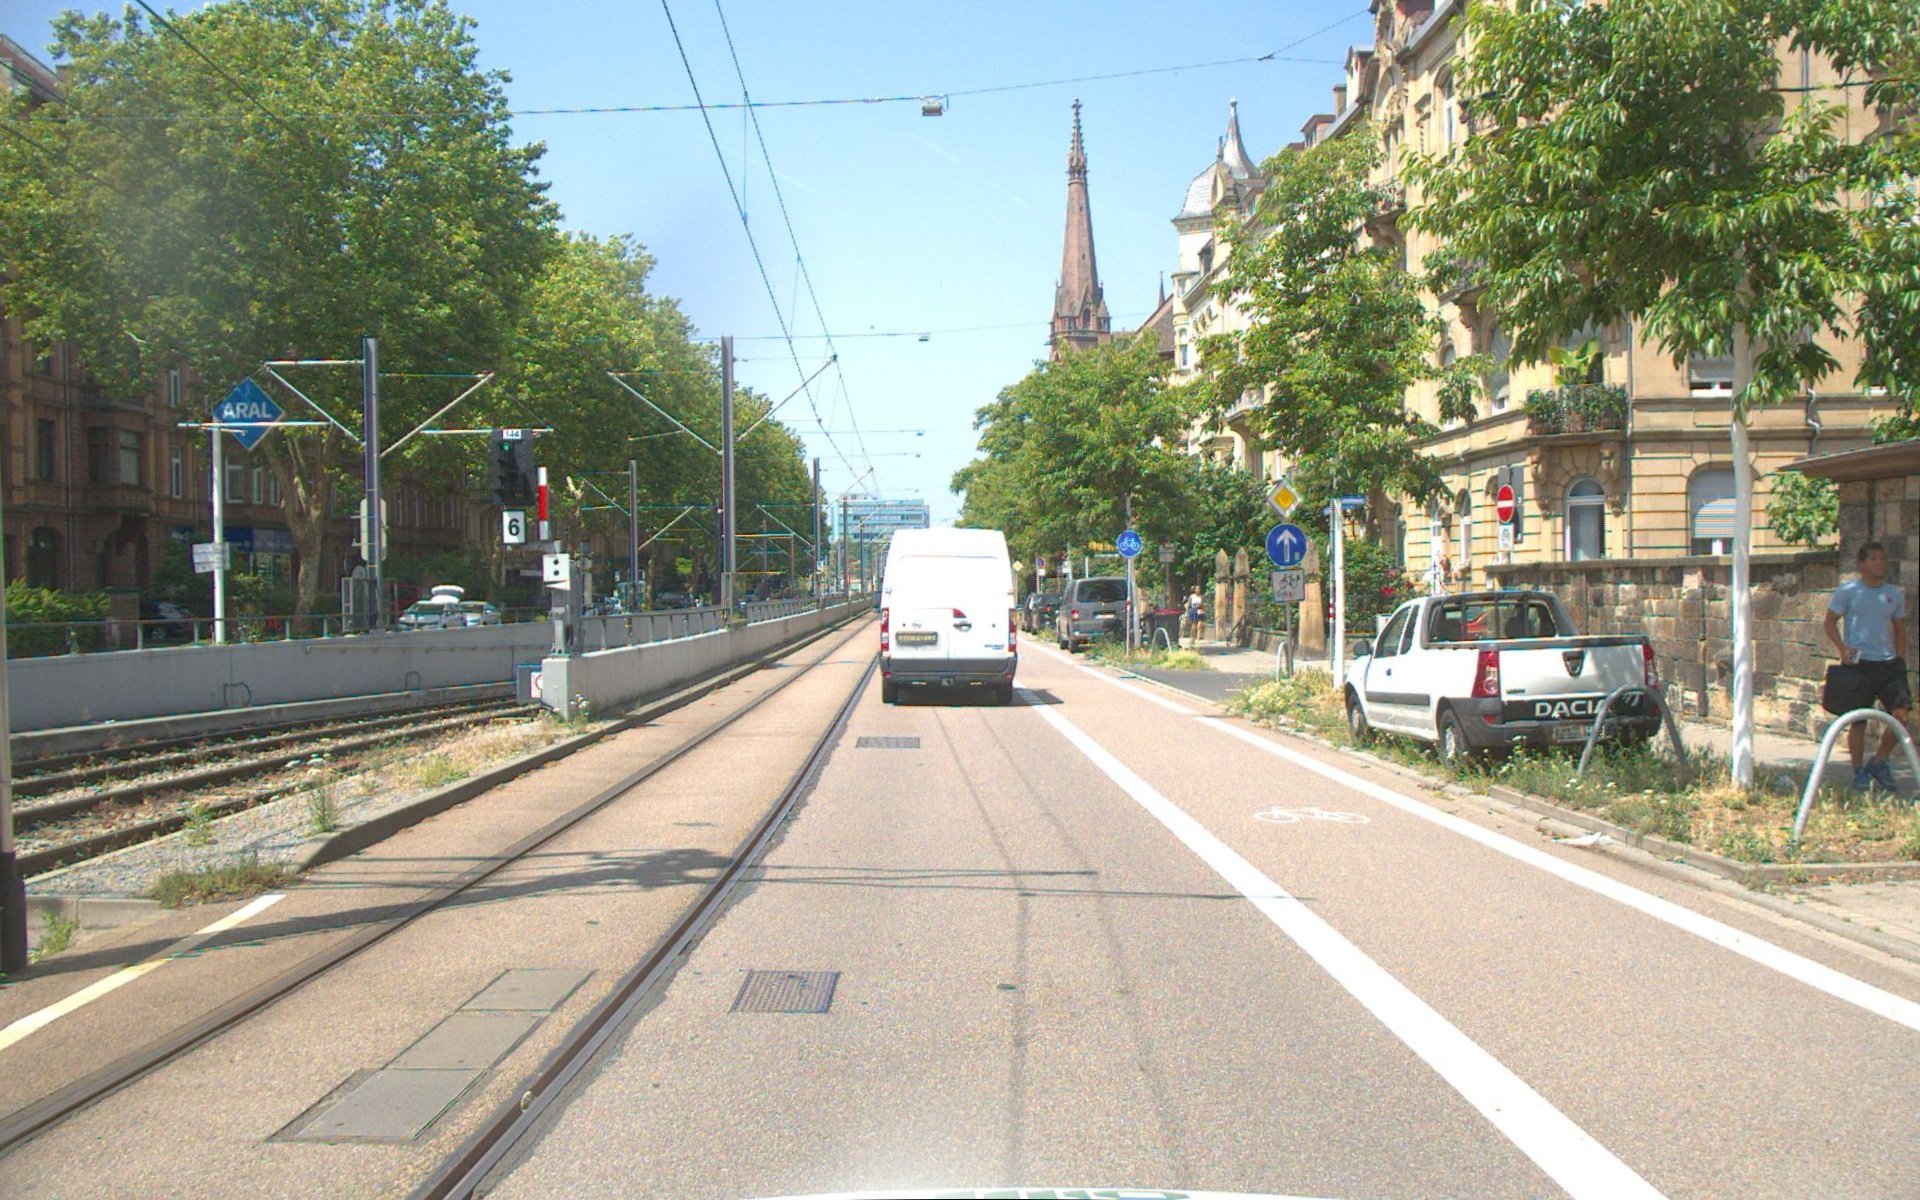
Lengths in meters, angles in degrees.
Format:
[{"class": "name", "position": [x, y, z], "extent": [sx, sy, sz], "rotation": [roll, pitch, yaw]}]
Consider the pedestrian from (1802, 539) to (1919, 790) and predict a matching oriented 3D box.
[{"class": "pedestrian", "position": [6.646, 0.458, 12.114], "extent": [0.608, 1.785, 0.678], "rotation": [0, 0, 0]}]

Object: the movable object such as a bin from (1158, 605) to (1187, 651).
[{"class": "movable object such as a bin", "position": [5.168, 0.675, 40.212], "extent": [0.655, 1.080, 0.496], "rotation": [-1, 0, 4]}]

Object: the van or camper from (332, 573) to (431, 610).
[{"class": "van or camper", "position": [-30.207, -0.443, 86.397], "extent": [4.448, 1.869, 1.933], "rotation": [0, 0, 4]}]

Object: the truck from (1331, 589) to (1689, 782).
[{"class": "truck", "position": [4.970, 0.683, 15.654], "extent": [1.753, 1.553, 4.463], "rotation": [0, 0, -2]}]

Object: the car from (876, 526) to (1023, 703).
[{"class": "car", "position": [-0.262, 0.191, 25.926], "extent": [2.075, 2.502, 5.051], "rotation": [0, 0, -3]}]

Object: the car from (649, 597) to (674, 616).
[{"class": "car", "position": [-23.180, 0.495, 128.489], "extent": [1.345, 1.448, 3.087], "rotation": [-1, 0, -1]}]

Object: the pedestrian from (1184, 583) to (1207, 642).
[{"class": "pedestrian", "position": [6.490, 0.333, 45.646], "extent": [0.540, 1.626, 0.728], "rotation": [0, 0, 0]}]

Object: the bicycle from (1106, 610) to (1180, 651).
[{"class": "bicycle", "position": [4.703, 0.788, 42.517], "extent": [1.848, 1.009, 0.469], "rotation": [-1, 0, -12]}]

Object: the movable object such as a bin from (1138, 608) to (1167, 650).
[{"class": "movable object such as a bin", "position": [4.855, 0.732, 41.687], "extent": [0.585, 1.029, 0.564], "rotation": [0, 0, -12]}]

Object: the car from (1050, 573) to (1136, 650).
[{"class": "car", "position": [3.673, 0.300, 46.384], "extent": [1.841, 1.981, 4.835], "rotation": [-2, 0, -2]}]

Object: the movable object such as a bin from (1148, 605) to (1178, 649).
[{"class": "movable object such as a bin", "position": [5.023, 0.668, 40.972], "extent": [0.730, 1.080, 0.496], "rotation": [0, 0, 4]}]

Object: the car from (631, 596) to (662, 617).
[{"class": "car", "position": [-22.816, 0.491, 120.399], "extent": [1.560, 1.473, 3.999], "rotation": [0, 0, -1]}]

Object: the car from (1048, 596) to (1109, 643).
[{"class": "car", "position": [3.822, 0.604, 53.717], "extent": [1.578, 1.430, 3.999], "rotation": [-1, 0, -2]}]

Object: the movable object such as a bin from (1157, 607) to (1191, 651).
[{"class": "movable object such as a bin", "position": [5.132, 0.681, 39.662], "extent": [0.771, 1.031, 0.650], "rotation": [-1, 0, 4]}]

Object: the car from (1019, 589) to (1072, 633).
[{"class": "car", "position": [3.113, 0.372, 60.912], "extent": [1.633, 1.557, 4.012], "rotation": [-1, 0, -2]}]

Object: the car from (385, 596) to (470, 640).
[{"class": "car", "position": [-20.724, 0.669, 64.587], "extent": [1.953, 1.653, 4.716], "rotation": [0, 0, -3]}]

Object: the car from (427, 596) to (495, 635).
[{"class": "car", "position": [-21.022, 0.620, 69.831], "extent": [1.753, 1.583, 4.084], "rotation": [0, 0, -3]}]

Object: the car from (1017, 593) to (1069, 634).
[{"class": "car", "position": [3.297, 0.523, 66.507], "extent": [1.694, 1.562, 4.402], "rotation": [0, 0, -2]}]

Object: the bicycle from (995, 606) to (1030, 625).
[{"class": "bicycle", "position": [2.737, 0.804, 85.913], "extent": [1.804, 0.970, 0.503], "rotation": [-1, 0, 0]}]

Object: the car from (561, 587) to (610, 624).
[{"class": "car", "position": [-17.741, 0.230, 78.480], "extent": [1.621, 1.714, 3.705], "rotation": [0, 0, -3]}]
